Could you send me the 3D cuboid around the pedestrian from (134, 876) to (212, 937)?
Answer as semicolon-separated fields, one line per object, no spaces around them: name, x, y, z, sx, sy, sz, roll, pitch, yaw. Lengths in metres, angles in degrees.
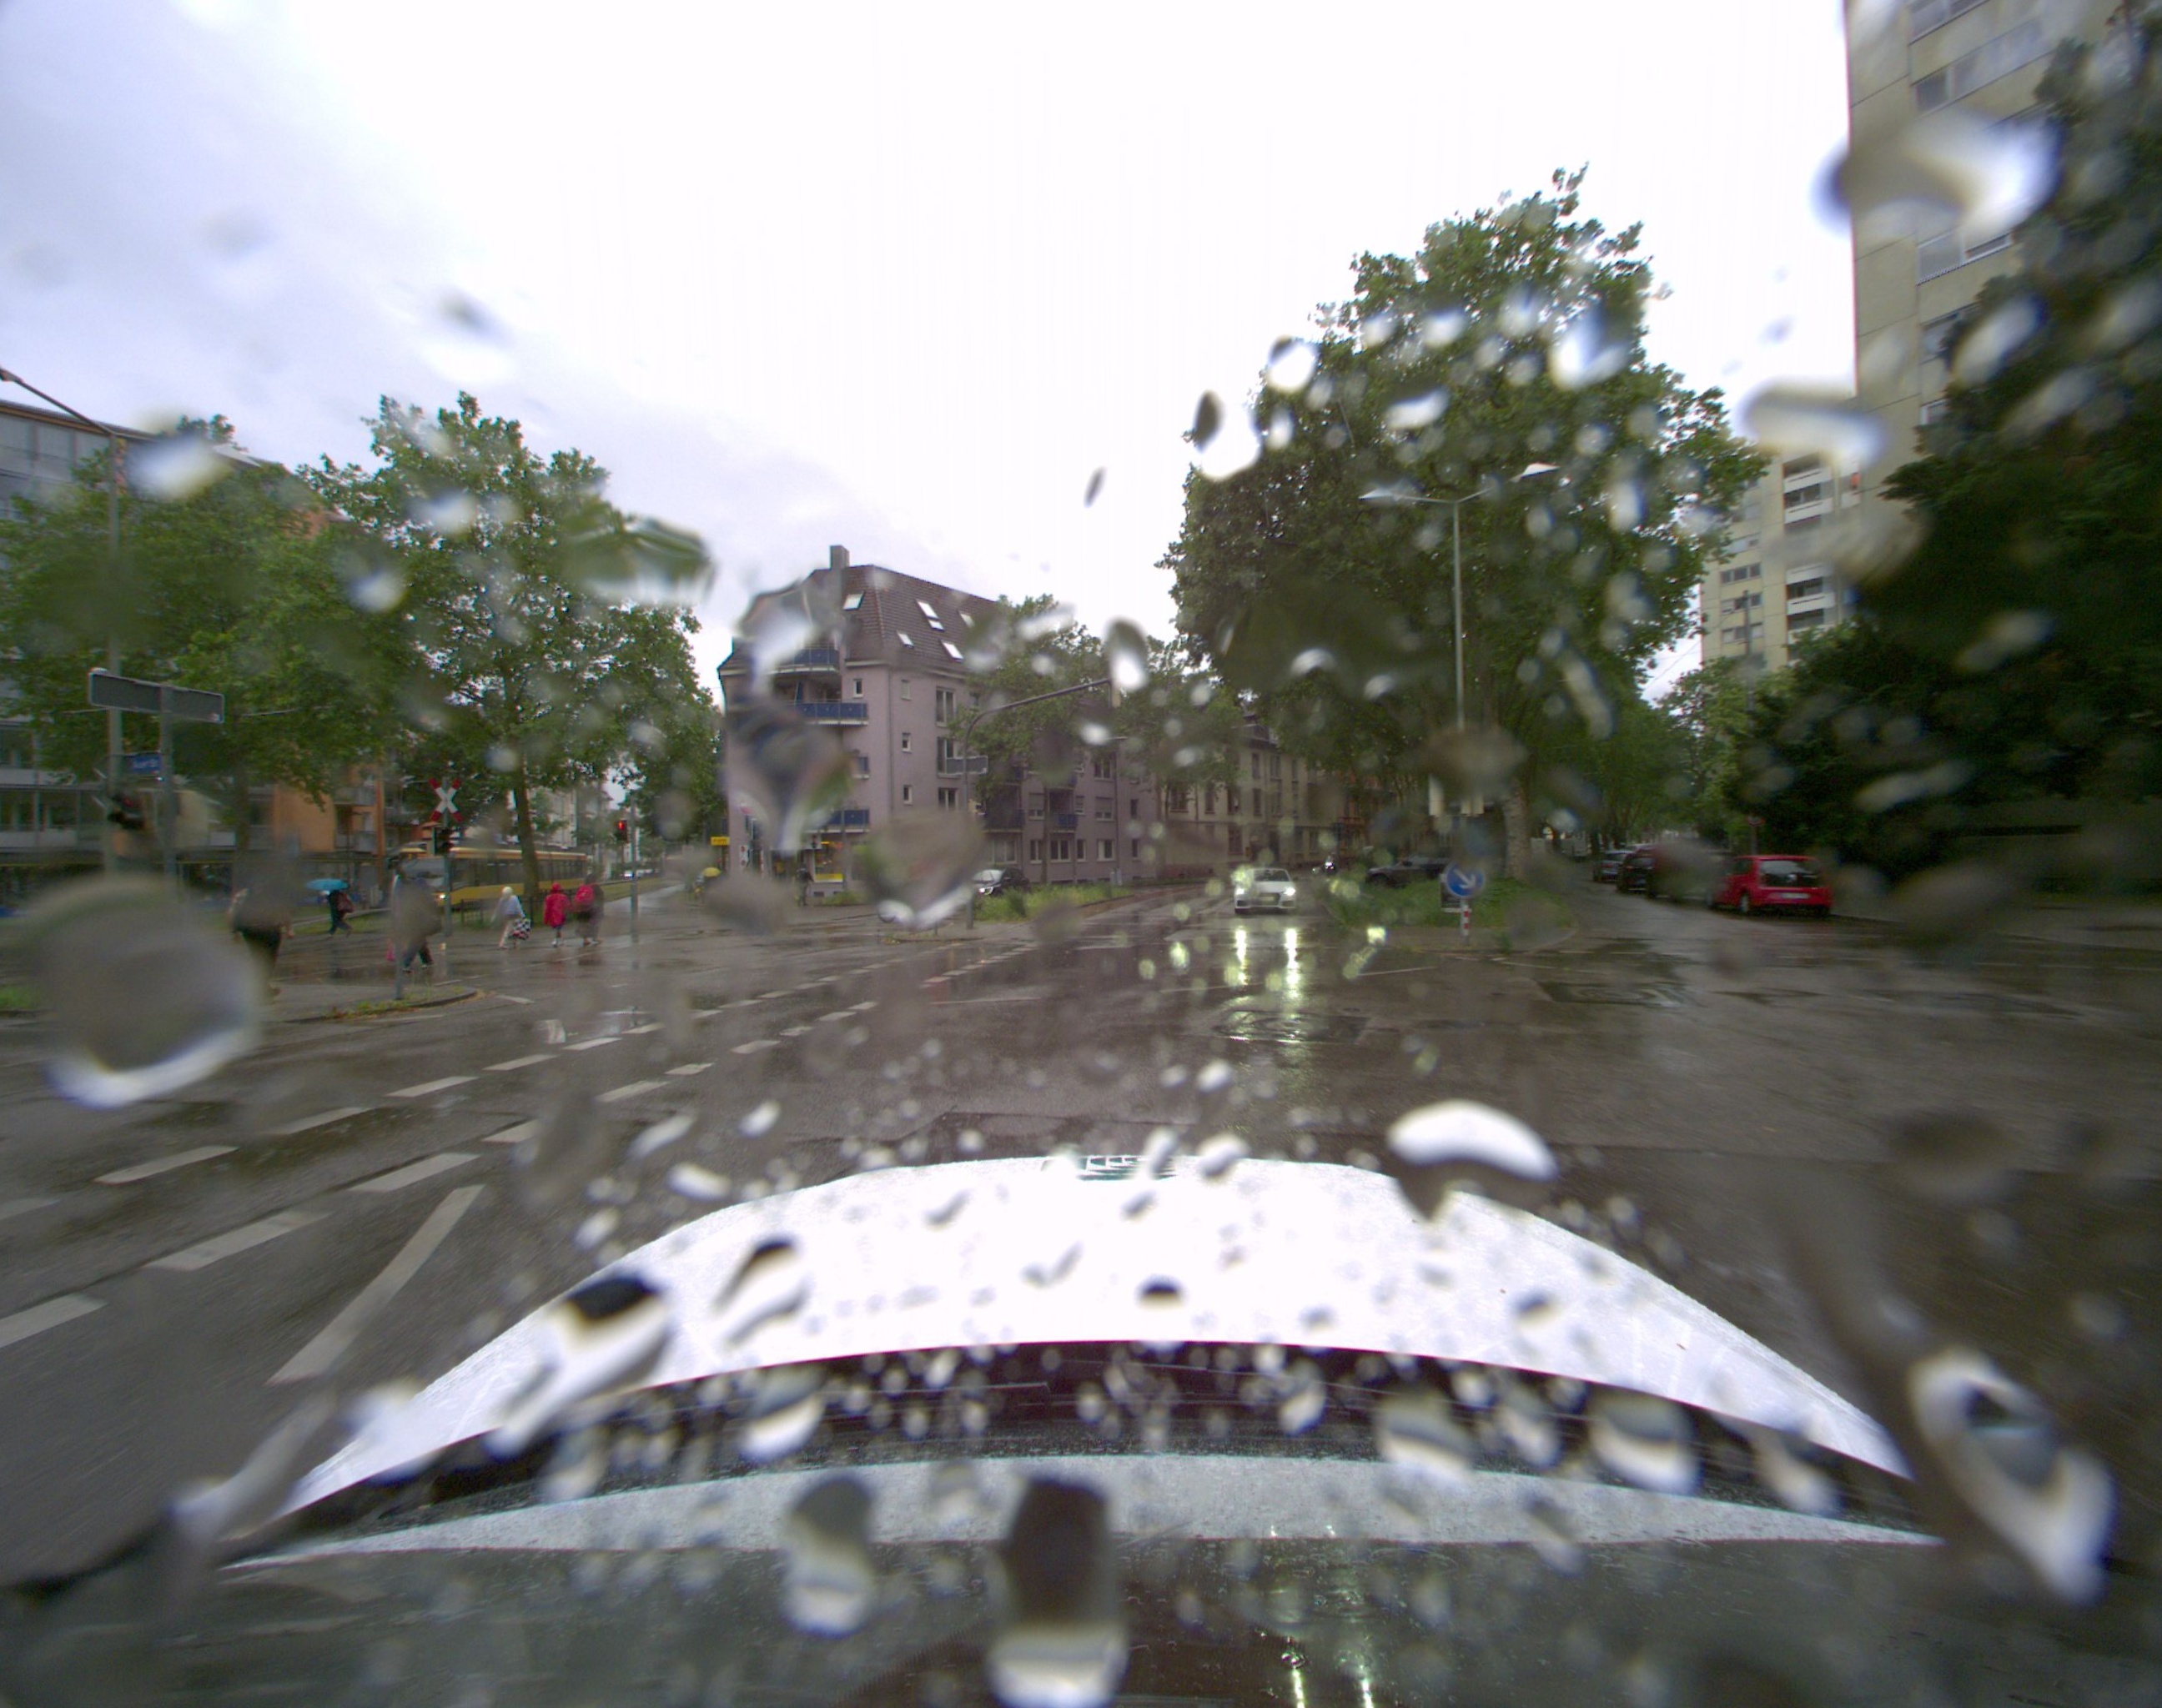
pedestrian;-27.991;1.601;25.131;1.228;1.788;1.038;-1;-1;1

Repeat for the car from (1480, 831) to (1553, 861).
car;37.341;-0.670;69.989;2.231;2.401;5.574;-1;-1;-16

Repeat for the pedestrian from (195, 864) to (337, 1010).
pedestrian;-10.657;1.045;10.693;0.807;1.781;0.994;-2;0;0

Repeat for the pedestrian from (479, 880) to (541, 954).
pedestrian;-12.661;1.376;18.088;0.879;1.525;1.057;-1;0;-22

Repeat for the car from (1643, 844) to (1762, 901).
car;19.131;0.539;25.298;1.917;1.608;4.480;-1;-1;24

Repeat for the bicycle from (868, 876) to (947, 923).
bicycle;-4.726;1.222;22.147;2.015;1.173;0.757;-1;0;26

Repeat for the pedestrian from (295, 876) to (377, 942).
pedestrian;-21.859;1.603;23.924;1.371;1.865;1.178;-1;0;12

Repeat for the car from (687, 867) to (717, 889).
car;-31.018;1.955;66.721;2.002;1.673;3.970;-2;0;-22

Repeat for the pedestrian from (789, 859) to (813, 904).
pedestrian;-11.497;1.129;33.458;0.636;1.804;0.624;-1;0;13

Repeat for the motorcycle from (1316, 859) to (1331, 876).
motorcycle;17.324;0.954;58.168;0.871;1.215;2.084;-1;-1;19

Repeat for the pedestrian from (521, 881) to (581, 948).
pedestrian;-11.638;1.311;17.918;0.670;1.381;1.009;-2;0;-5

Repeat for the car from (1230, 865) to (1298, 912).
car;5.741;1.024;25.293;1.883;1.275;4.188;-1;-1;14

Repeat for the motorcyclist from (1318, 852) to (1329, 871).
motorcyclist;17.316;0.519;58.141;0.749;1.351;0.758;-1;-1;18

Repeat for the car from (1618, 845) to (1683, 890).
car;21.588;0.498;30.966;1.817;1.596;3.508;-2;-1;32

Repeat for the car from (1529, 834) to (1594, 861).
car;50.112;-0.645;85.052;1.999;2.649;5.934;-1;-1;-18

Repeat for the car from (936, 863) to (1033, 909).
car;-3.385;1.110;29.410;1.973;1.461;4.195;-1;0;16

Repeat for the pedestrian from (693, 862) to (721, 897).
pedestrian;-19.943;1.346;43.412;1.173;1.788;0.884;-1;-1;-40

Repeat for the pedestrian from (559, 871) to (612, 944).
pedestrian;-10.976;1.175;18.060;0.689;1.547;0.760;-2;0;-4

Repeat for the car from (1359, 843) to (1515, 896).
car;12.189;0.535;28.105;1.885;1.664;4.548;-1;-1;-42

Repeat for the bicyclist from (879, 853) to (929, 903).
bicyclist;-4.805;0.643;22.159;1.063;1.309;0.747;-1;0;27

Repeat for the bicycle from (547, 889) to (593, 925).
bicycle;-16.545;1.694;26.422;0.443;1.077;1.619;-1;0;0

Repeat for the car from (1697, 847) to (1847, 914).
car;17.268;0.636;20.563;1.820;1.525;3.479;-1;-1;21

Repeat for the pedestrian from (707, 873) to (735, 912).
pedestrian;-15.188;1.610;34.404;0.995;1.559;0.778;-2;0;-22

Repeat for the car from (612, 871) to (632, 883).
car;-61.513;3.085;109.220;2.004;1.533;3.966;-1;-1;-26

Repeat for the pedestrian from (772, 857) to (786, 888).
pedestrian;-15.938;0.962;43.022;0.469;1.602;0.594;-1;-1;4

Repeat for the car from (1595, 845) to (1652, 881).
car;26.376;0.443;39.682;1.908;1.633;4.024;-2;-1;28

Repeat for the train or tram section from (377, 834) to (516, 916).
train or tram section;-29.425;0.925;38.256;2.646;3.369;8.319;-1;-1;-20

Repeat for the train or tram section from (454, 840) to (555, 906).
train or tram section;-32.317;1.044;46.040;2.647;3.351;8.317;-1;-1;-21

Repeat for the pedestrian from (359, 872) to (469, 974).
pedestrian;-11.719;1.190;14.348;0.987;1.686;1.058;-1;0;8
